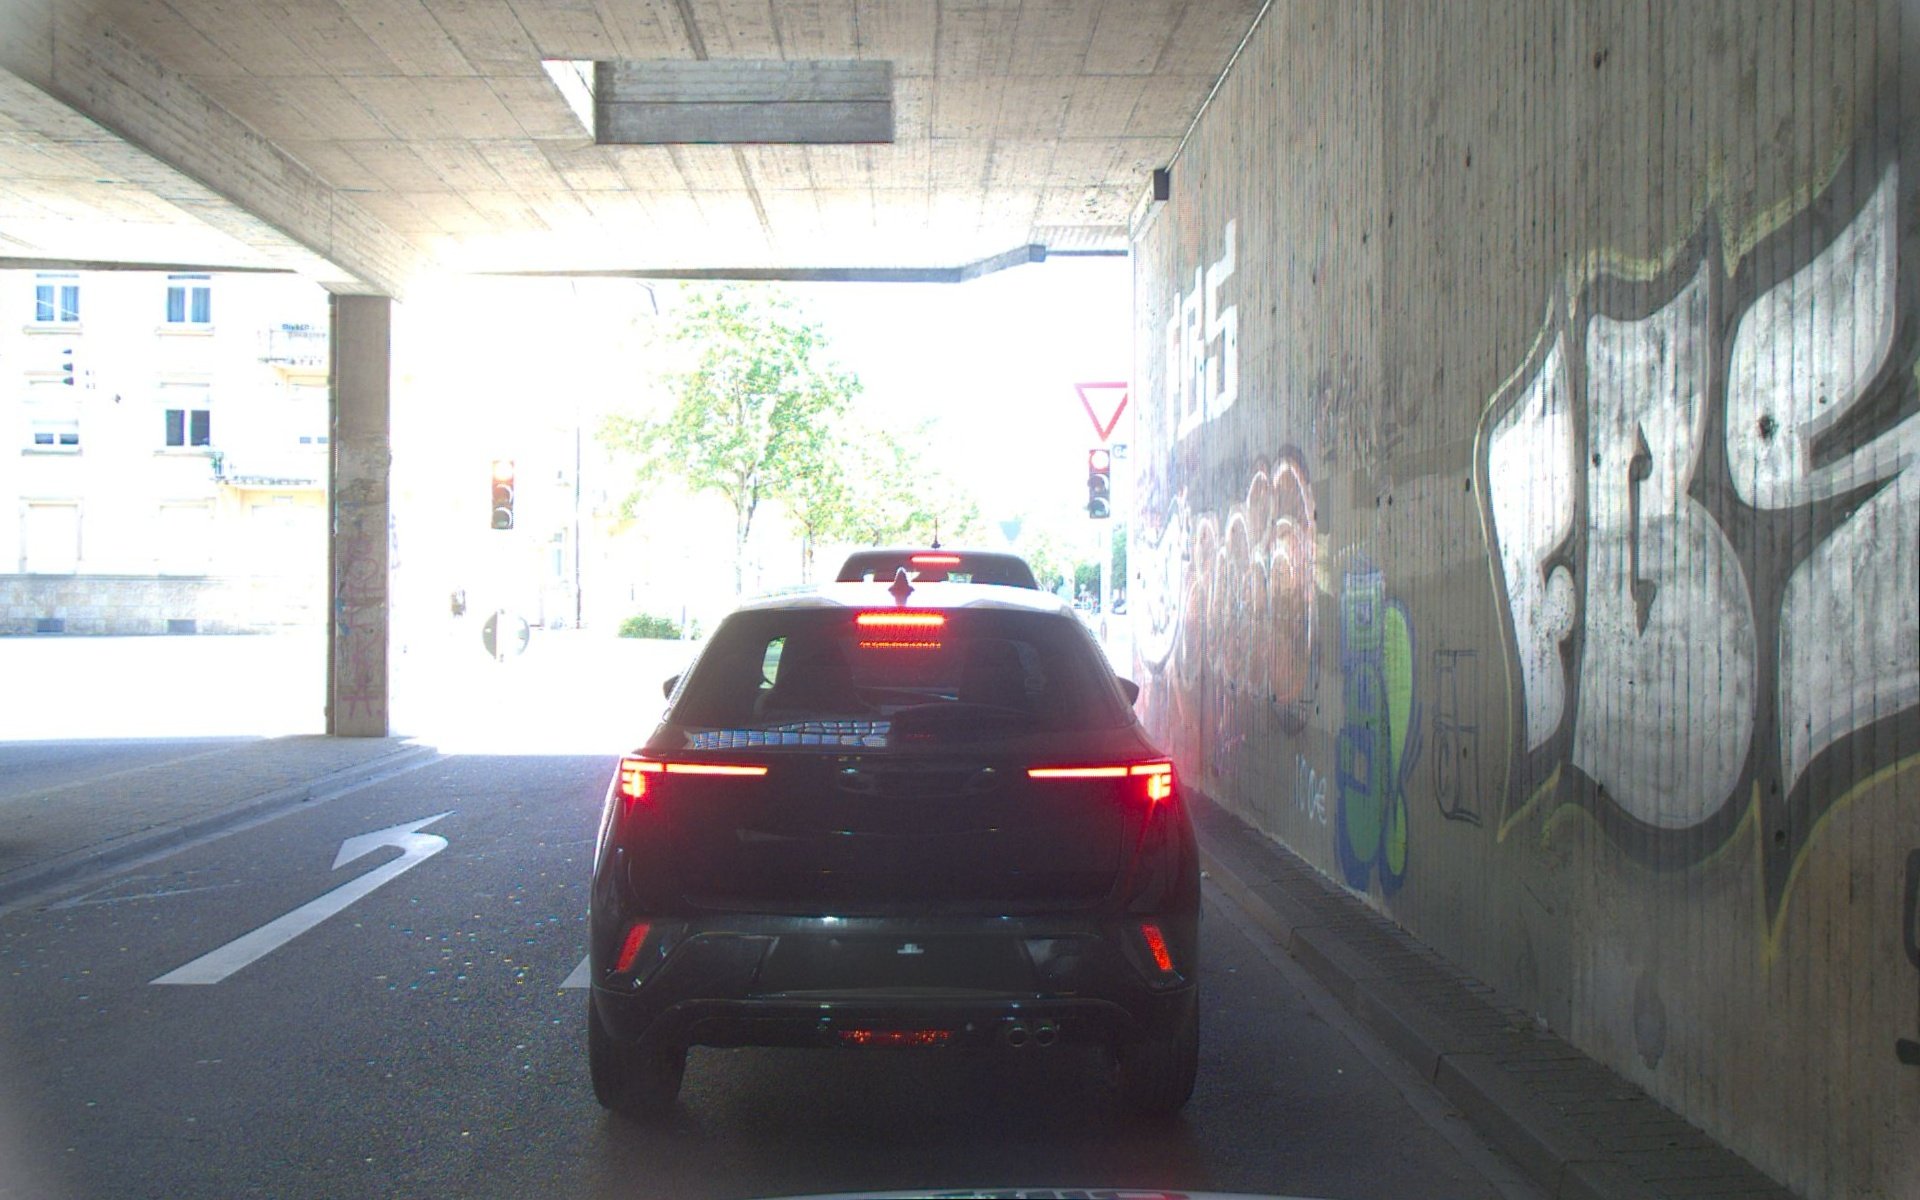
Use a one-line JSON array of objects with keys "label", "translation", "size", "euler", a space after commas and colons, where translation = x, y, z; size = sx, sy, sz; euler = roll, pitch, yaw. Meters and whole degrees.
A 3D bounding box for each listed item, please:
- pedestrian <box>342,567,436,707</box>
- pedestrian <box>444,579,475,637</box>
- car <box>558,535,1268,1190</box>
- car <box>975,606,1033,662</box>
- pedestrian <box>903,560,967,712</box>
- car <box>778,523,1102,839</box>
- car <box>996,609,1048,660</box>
[{"label": "pedestrian", "translation": [-7.490, 0.476, 21.721], "size": [0.910, 1.792, 0.794], "euler": [1, -1, 1]}, {"label": "pedestrian", "translation": [-14.563, 0.244, 48.123], "size": [0.658, 1.666, 0.740], "euler": [1, -1, -1]}, {"label": "car", "translation": [-0.142, 0.609, 6.087], "size": [1.729, 1.598, 4.000], "euler": [1, 1, -1]}, {"label": "car", "translation": [1.692, 1.258, 62.255], "size": [1.951, 2.004, 4.166], "euler": [1, 0, 4]}, {"label": "pedestrian", "translation": [-0.295, 0.419, 19.777], "size": [0.716, 1.764, 0.874], "euler": [1, -1, -1]}, {"label": "car", "translation": [-0.147, 0.476, 12.008], "size": [1.953, 1.904, 3.999], "euler": [0, 0, -1]}, {"label": "car", "translation": [2.599, 1.399, 68.481], "size": [1.951, 2.004, 4.166], "euler": [1, 0, 4]}]
